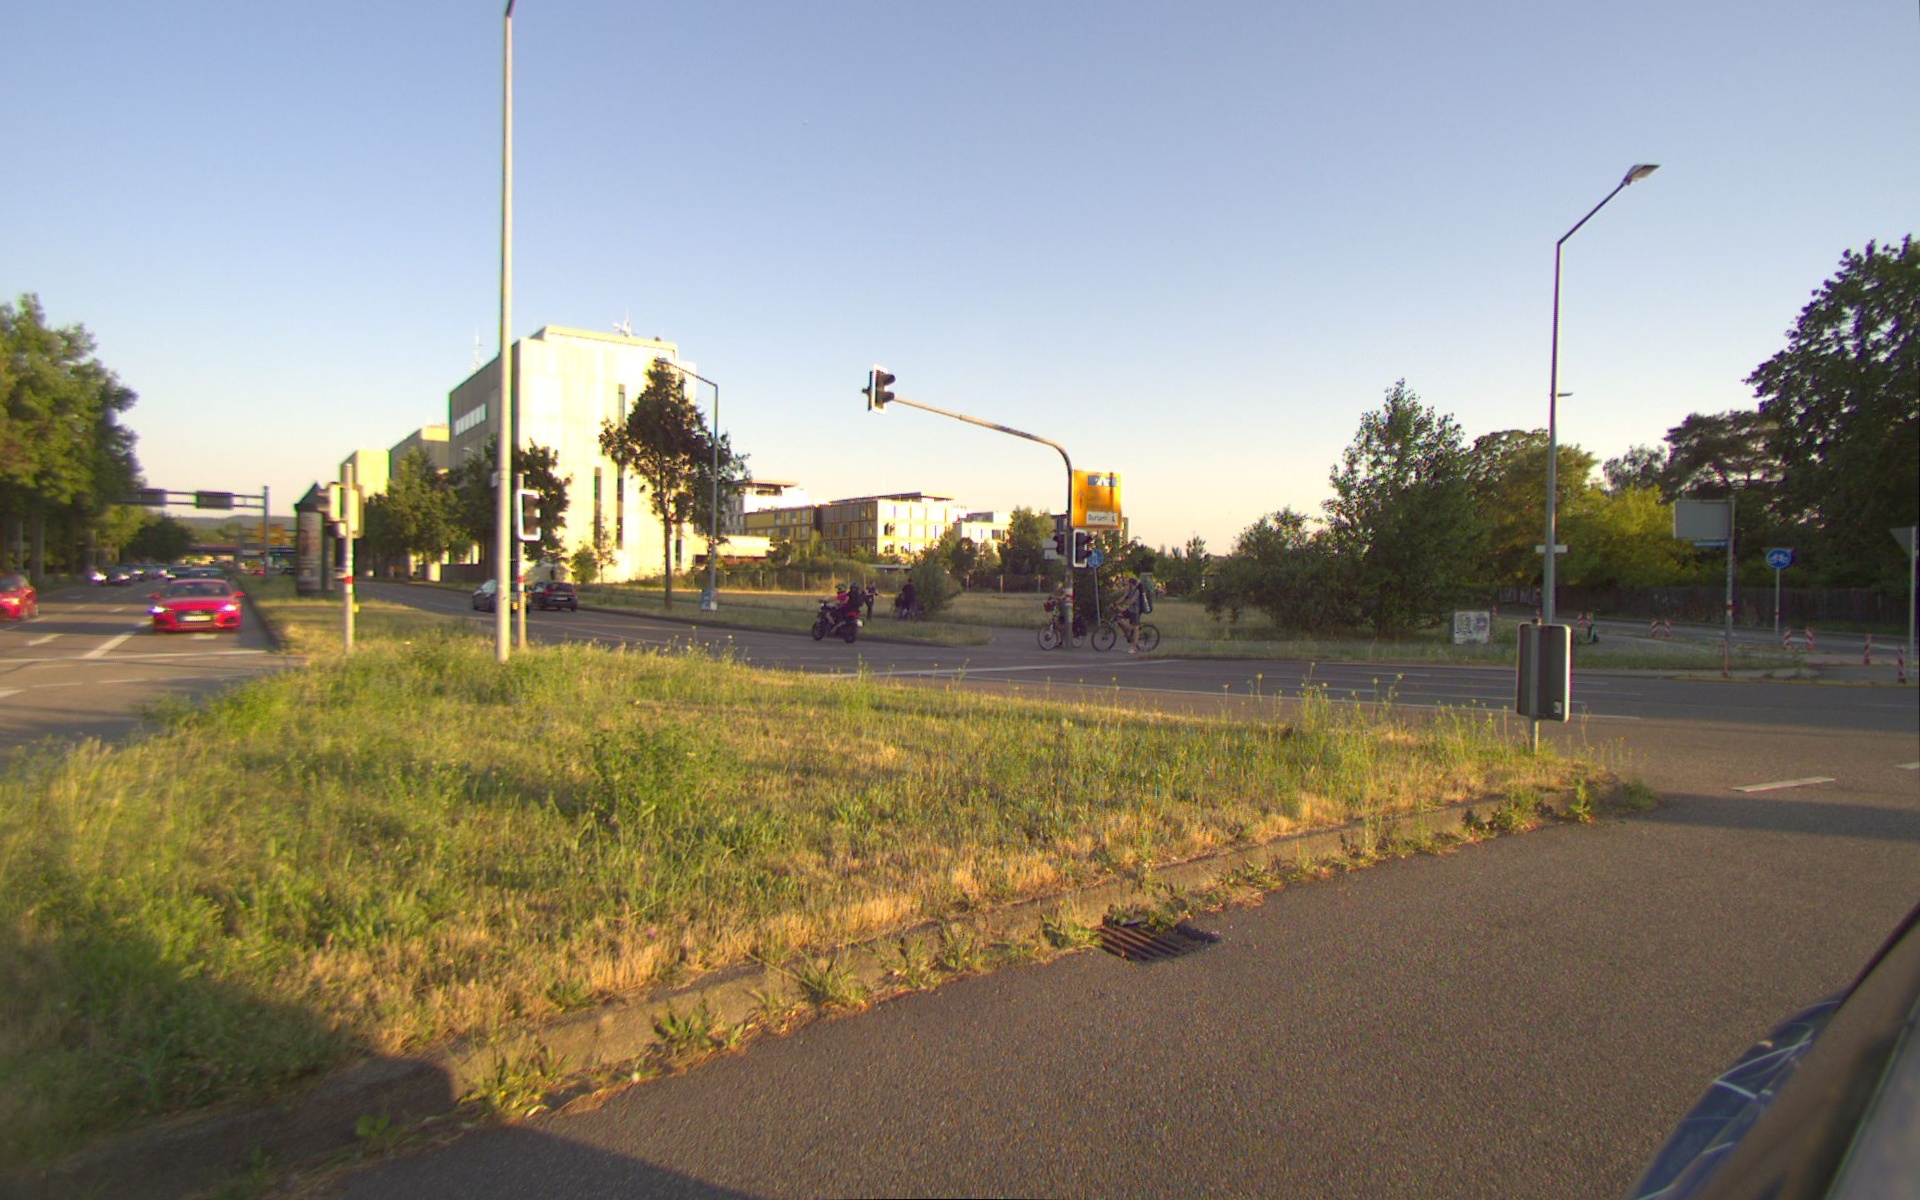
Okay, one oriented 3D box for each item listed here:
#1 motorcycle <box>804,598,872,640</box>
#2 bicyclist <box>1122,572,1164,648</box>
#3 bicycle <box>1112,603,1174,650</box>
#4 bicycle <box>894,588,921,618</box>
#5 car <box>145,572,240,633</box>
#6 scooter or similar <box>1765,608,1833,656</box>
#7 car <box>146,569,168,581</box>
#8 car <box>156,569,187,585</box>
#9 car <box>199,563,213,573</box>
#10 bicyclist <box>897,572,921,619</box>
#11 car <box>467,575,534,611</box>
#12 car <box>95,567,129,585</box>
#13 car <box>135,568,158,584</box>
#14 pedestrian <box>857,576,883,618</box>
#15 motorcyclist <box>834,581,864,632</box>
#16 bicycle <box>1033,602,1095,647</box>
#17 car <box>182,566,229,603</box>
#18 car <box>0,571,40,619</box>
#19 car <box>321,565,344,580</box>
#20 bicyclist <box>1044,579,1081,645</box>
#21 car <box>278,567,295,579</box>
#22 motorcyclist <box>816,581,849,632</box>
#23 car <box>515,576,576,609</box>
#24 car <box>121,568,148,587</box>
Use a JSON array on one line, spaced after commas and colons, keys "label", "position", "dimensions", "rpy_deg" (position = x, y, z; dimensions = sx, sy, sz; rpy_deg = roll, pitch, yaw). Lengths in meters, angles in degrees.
[{"label": "motorcycle", "position": [-3.501, 0.534, 28.904], "dimensions": [2.148, 1.114, 0.550], "rpy_deg": [2, 1, 38]}, {"label": "bicyclist", "position": [4.732, 0.236, 26.177], "dimensions": [0.894, 1.921, 0.640], "rpy_deg": [-2, 2, -40]}, {"label": "bicycle", "position": [4.737, 0.663, 26.157], "dimensions": [1.894, 1.098, 0.456], "rpy_deg": [-2, 2, -40]}, {"label": "bicycle", "position": [-2.038, 0.112, 39.237], "dimensions": [0.275, 1.102, 1.372], "rpy_deg": [1, 1, -37]}, {"label": "car", "position": [-20.287, 0.028, 26.891], "dimensions": [1.810, 1.479, 4.581], "rpy_deg": [1, 0, -35]}, {"label": "scooter or similar", "position": [21.210, 0.808, 25.588], "dimensions": [1.356, 1.177, 0.442], "rpy_deg": [1, 1, -2]}, {"label": "car", "position": [-91.179, -2.838, 114.944], "dimensions": [1.841, 1.325, 4.137], "rpy_deg": [-1, 2, -36]}, {"label": "car", "position": [-63.715, -1.866, 81.809], "dimensions": [1.841, 1.325, 4.137], "rpy_deg": [-1, 2, -36]}, {"label": "car", "position": [-110.609, -4.659, 148.442], "dimensions": [1.589, 1.471, 3.716], "rpy_deg": [-1, 2, -36]}, {"label": "bicyclist", "position": [-1.972, -0.175, 39.199], "dimensions": [0.527, 1.765, 0.843], "rpy_deg": [1, 1, -38]}, {"label": "car", "position": [-20.297, -0.320, 44.621], "dimensions": [1.770, 1.440, 4.447], "rpy_deg": [1, 1, -37]}, {"label": "car", "position": [-61.665, -1.749, 73.634], "dimensions": [1.589, 1.325, 3.716], "rpy_deg": [-1, 2, -36]}, {"label": "car", "position": [-79.577, -2.338, 99.034], "dimensions": [1.589, 1.537, 3.716], "rpy_deg": [-1, 2, -36]}, {"label": "pedestrian", "position": [-3.425, -0.109, 38.338], "dimensions": [0.782, 1.569, 0.567], "rpy_deg": [0, 1, -37]}, {"label": "motorcyclist", "position": [-3.139, 0.171, 28.618], "dimensions": [0.591, 1.426, 0.627], "rpy_deg": [1, 1, 38]}, {"label": "bicycle", "position": [2.821, 0.640, 27.245], "dimensions": [1.894, 1.098, 0.456], "rpy_deg": [-3, 3, -40]}, {"label": "car", "position": [-35.214, -0.738, 47.250], "dimensions": [1.690, 1.633, 4.134], "rpy_deg": [-1, 1, -37]}, {"label": "car", "position": [-31.554, -0.185, 33.137], "dimensions": [1.695, 1.502, 3.632], "rpy_deg": [-1, 2, -36]}, {"label": "car", "position": [-62.581, -2.762, 100.968], "dimensions": [1.716, 1.442, 4.140], "rpy_deg": [1, 1, -29]}, {"label": "bicyclist", "position": [2.753, 0.298, 27.271], "dimensions": [0.757, 1.722, 0.640], "rpy_deg": [-3, 3, -40]}, {"label": "car", "position": [-91.727, -3.729, 137.775], "dimensions": [1.784, 1.544, 4.135], "rpy_deg": [1, 1, -36]}, {"label": "motorcyclist", "position": [-3.661, 0.176, 29.020], "dimensions": [0.711, 1.434, 0.627], "rpy_deg": [1, 1, 38]}, {"label": "car", "position": [-20.195, -0.375, 49.243], "dimensions": [1.770, 1.482, 3.998], "rpy_deg": [1, 1, -37]}, {"label": "car", "position": [-69.733, -1.897, 85.513], "dimensions": [1.589, 1.537, 3.716], "rpy_deg": [-1, 2, -36]}]
